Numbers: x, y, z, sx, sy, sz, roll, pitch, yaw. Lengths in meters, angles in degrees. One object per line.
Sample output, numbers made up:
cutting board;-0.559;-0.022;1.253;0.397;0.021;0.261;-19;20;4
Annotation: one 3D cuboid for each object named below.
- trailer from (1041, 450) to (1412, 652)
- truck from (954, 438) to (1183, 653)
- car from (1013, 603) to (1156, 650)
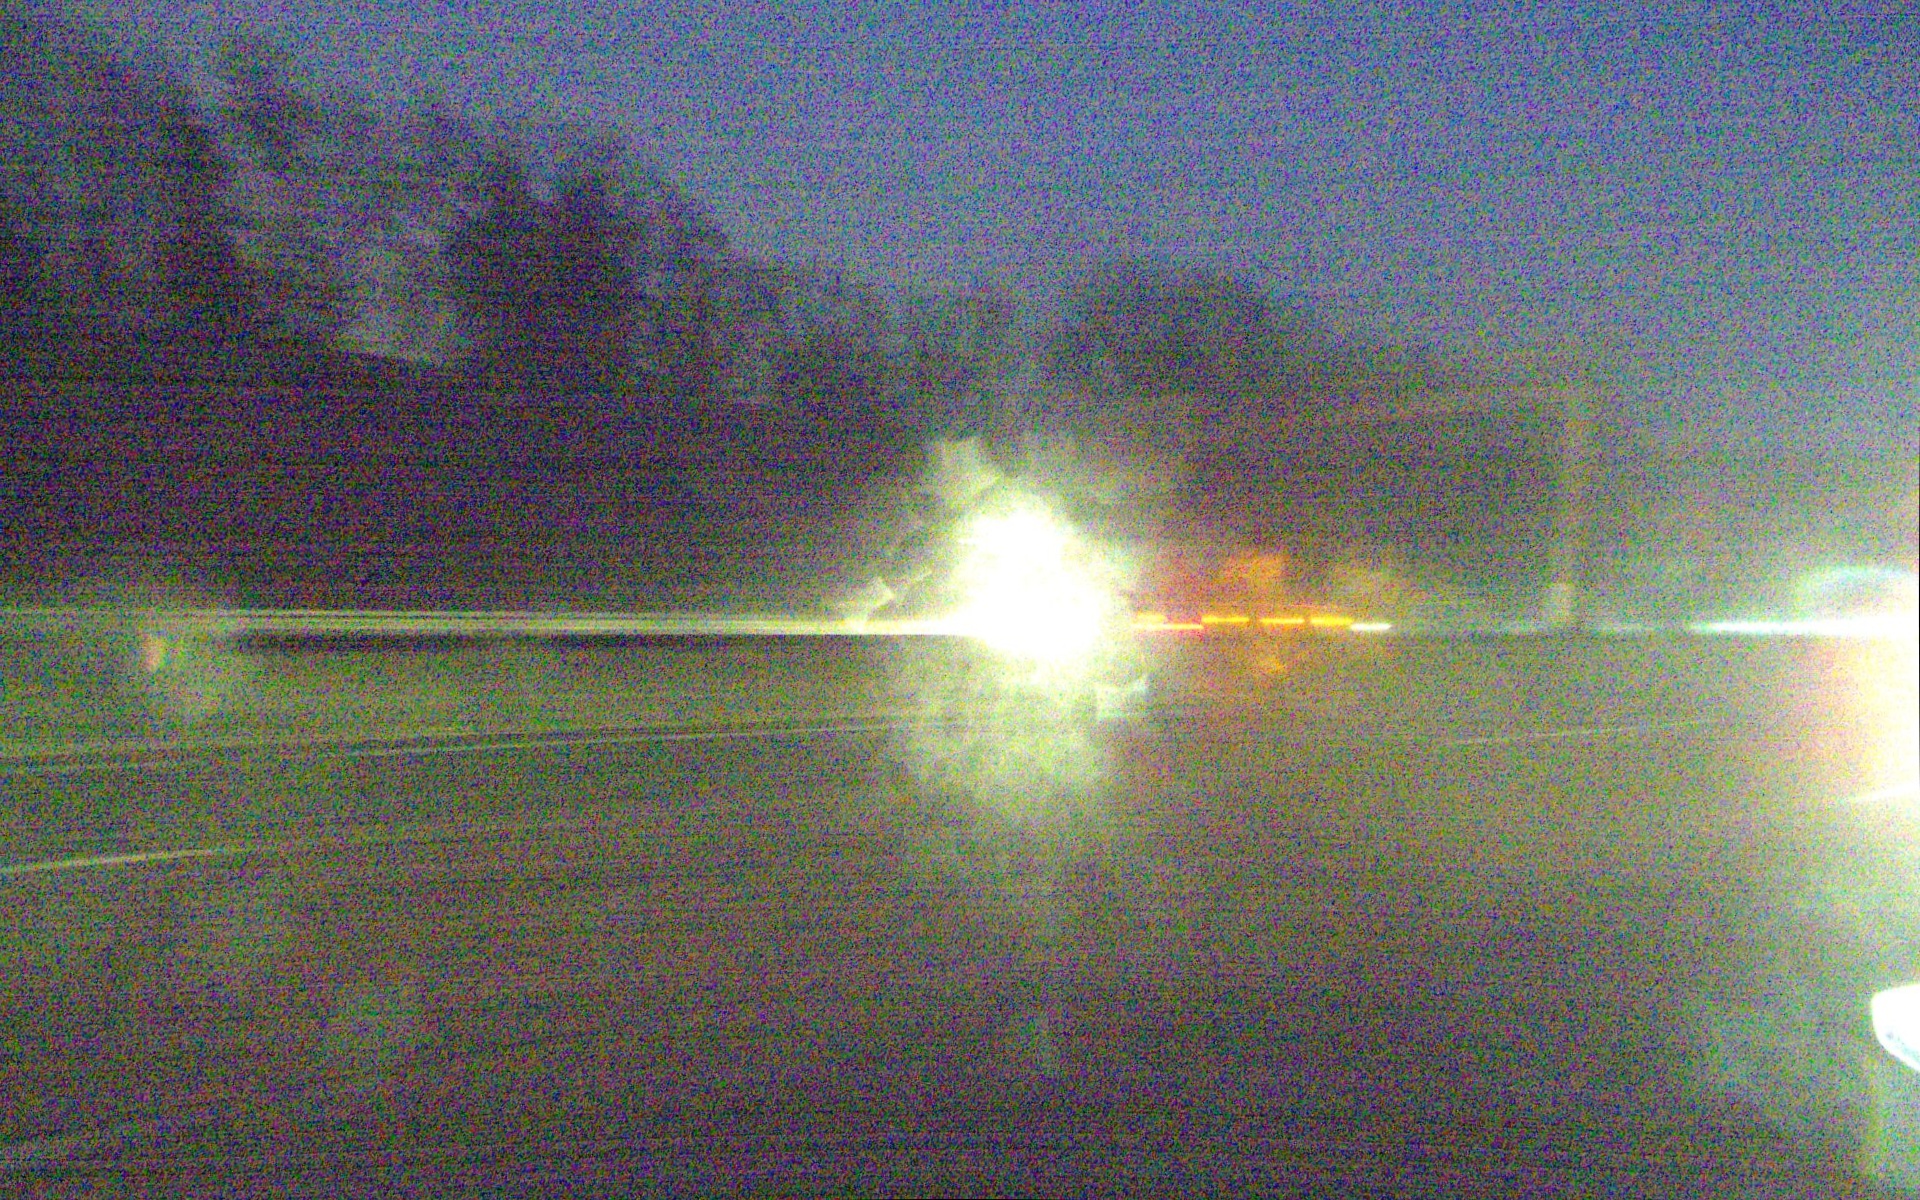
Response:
trailer;9.885;-1.477;35.936;14.239;6.211;3.445;1;4;-31
truck;3.447;-1.641;32.122;6.100;6.211;3.445;1;4;-30
car;3.404;0.716;27.270;3.619;1.171;1.692;1;0;-33
